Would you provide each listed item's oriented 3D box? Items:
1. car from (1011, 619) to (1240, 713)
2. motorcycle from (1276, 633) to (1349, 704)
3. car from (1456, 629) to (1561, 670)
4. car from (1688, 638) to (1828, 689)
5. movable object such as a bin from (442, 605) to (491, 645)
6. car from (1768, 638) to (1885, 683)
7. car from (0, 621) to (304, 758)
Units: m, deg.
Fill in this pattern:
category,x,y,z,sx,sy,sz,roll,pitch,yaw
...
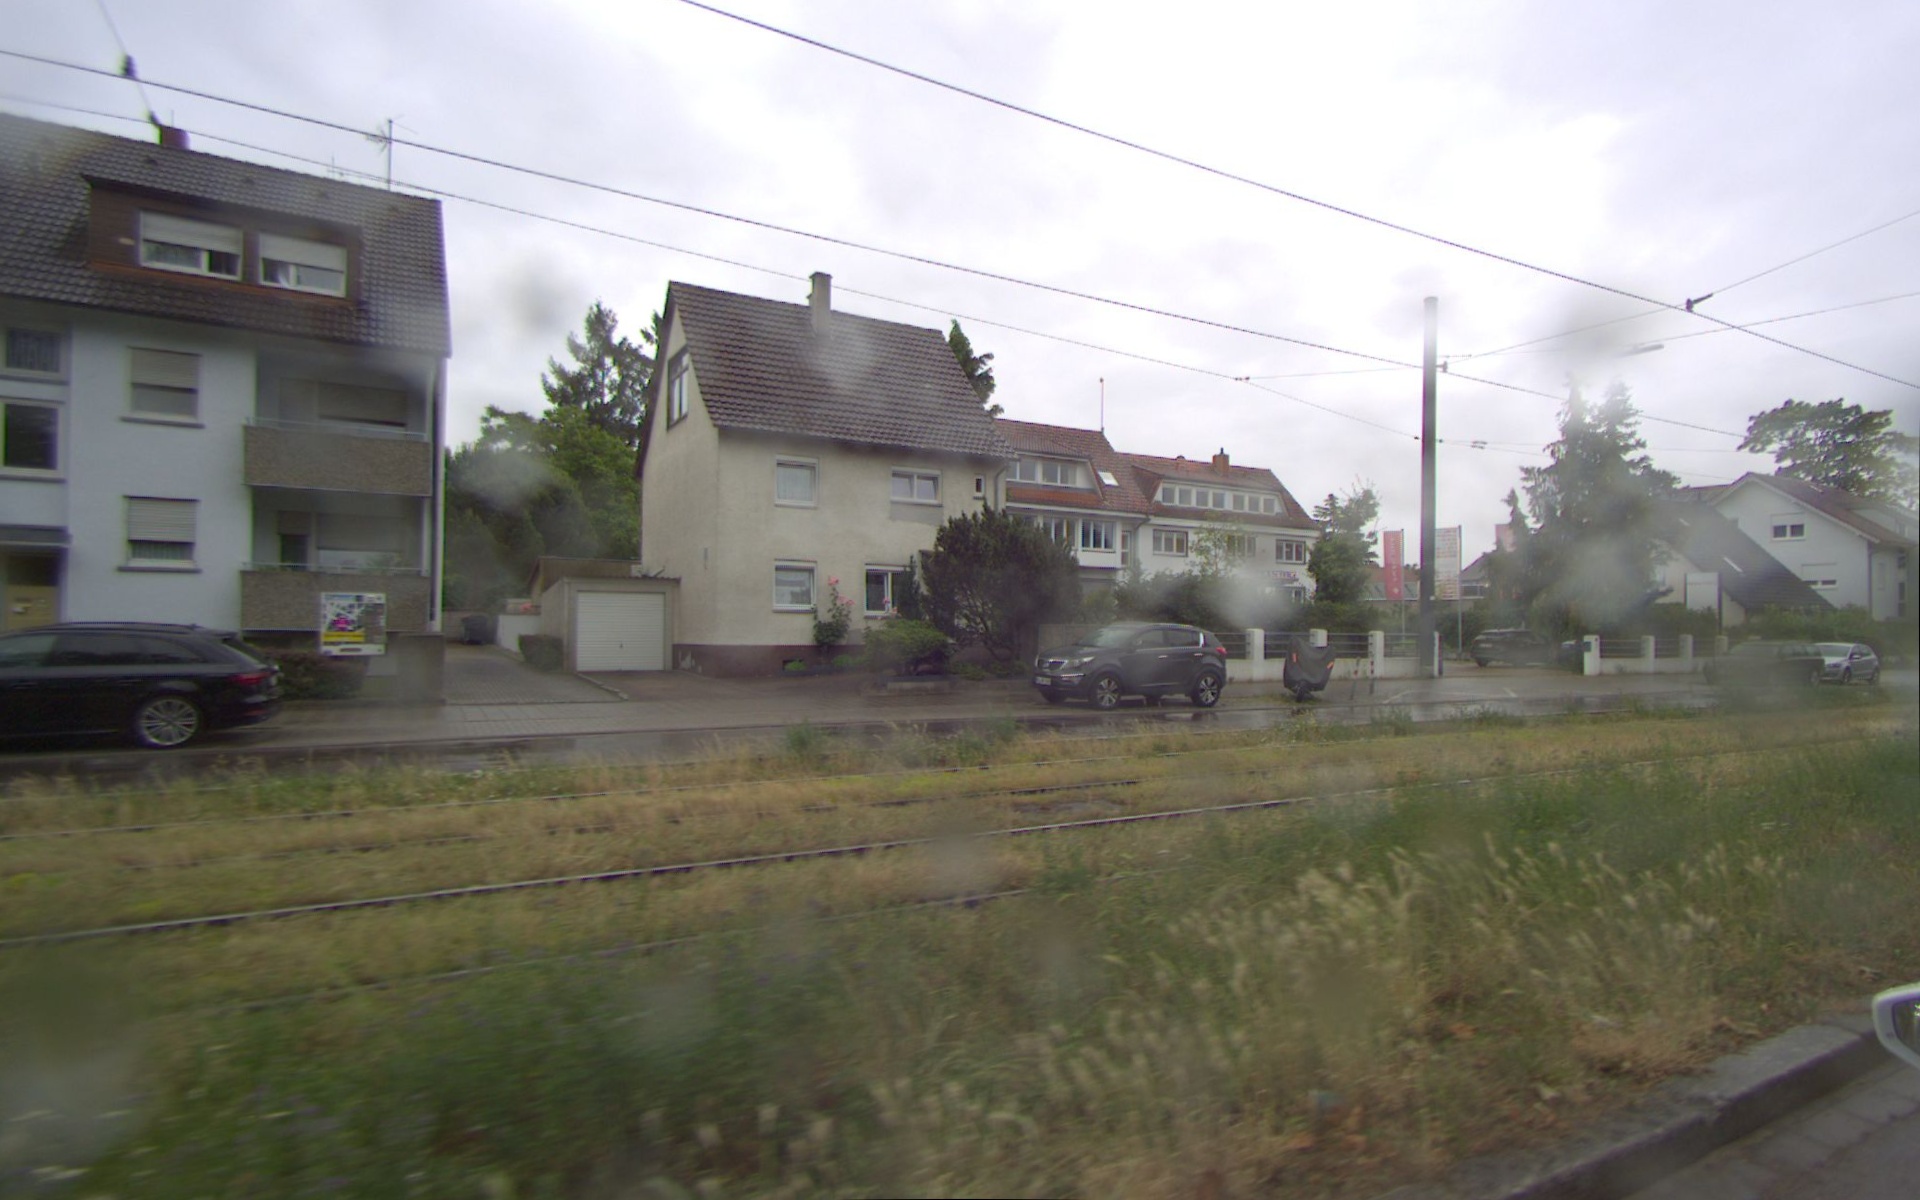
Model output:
category,x,y,z,sx,sy,sz,roll,pitch,yaw
car,3.394,1.276,20.366,4.338,1.696,1.983,2,-1,-31
motorcycle,7.981,1.510,22.909,1.241,1.429,2.689,2,-1,13
car,22.032,1.948,40.339,3.871,1.475,1.984,1,1,-30
car,26.341,2.037,33.146,4.474,1.475,1.986,1,1,-28
movable object such as a bin,-24.148,1.215,49.105,1.899,1.800,2.130,2,0,-32
car,31.090,2.117,36.023,3.924,1.430,1.984,1,1,-30
car,-10.769,1.005,11.986,4.701,1.430,1.986,1,1,-28
